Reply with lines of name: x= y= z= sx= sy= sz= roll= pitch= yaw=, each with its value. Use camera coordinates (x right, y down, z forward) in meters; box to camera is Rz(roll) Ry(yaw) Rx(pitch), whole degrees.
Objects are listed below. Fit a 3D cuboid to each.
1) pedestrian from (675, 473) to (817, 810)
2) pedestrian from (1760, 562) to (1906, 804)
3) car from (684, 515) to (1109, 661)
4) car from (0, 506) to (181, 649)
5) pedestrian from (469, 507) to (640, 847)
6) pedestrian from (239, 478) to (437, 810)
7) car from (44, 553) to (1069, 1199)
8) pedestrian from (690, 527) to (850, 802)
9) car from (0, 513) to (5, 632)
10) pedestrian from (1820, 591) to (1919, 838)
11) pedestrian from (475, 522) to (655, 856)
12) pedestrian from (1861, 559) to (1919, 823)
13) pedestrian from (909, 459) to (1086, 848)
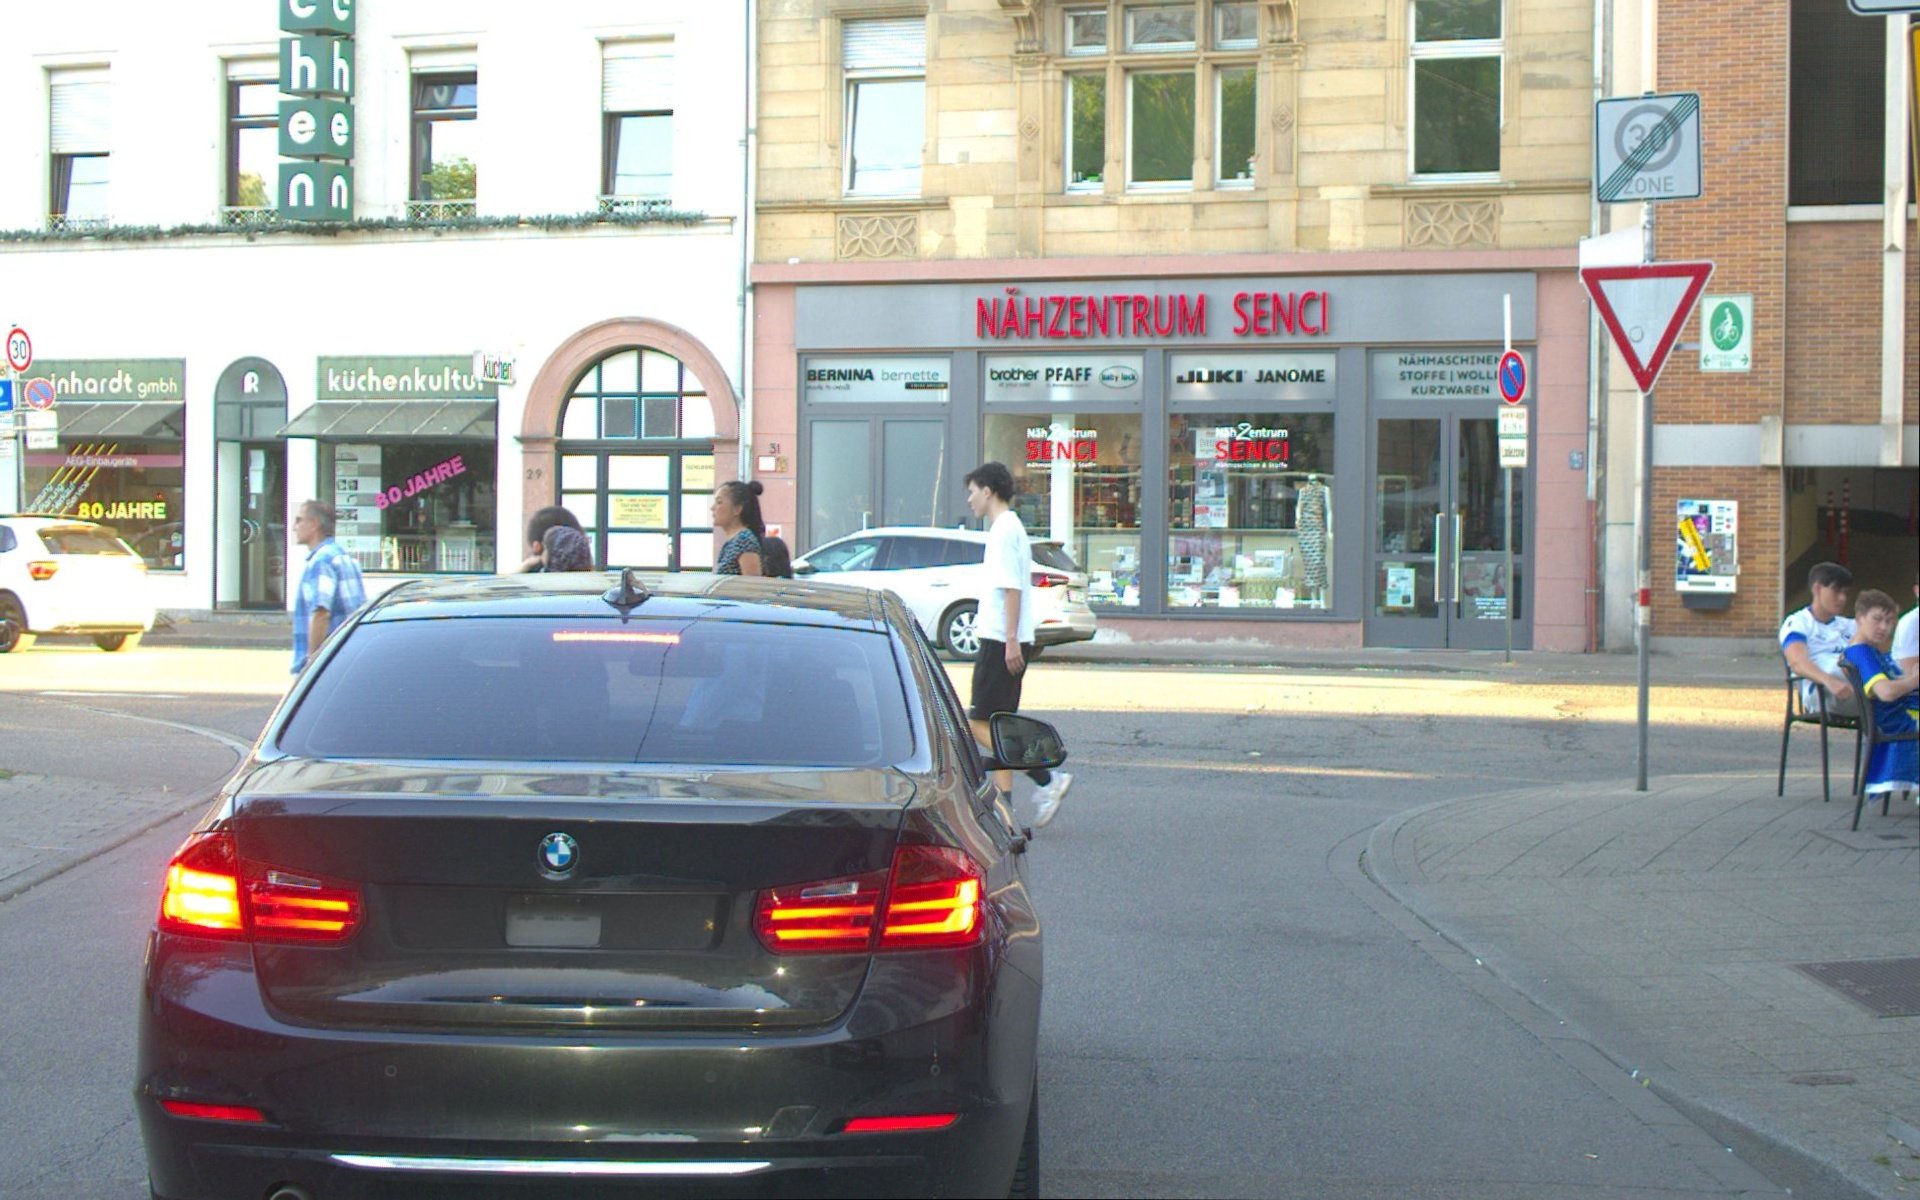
pedestrian: x=-1.117 y=0.208 z=18.064 sx=0.667 sy=1.740 sz=0.606 roll=0 pitch=1 yaw=4
pedestrian: x=4.646 y=0.431 z=18.326 sx=0.617 sy=1.250 sz=0.735 roll=0 pitch=1 yaw=4
car: x=-0.702 y=-0.152 z=38.364 sx=4.356 sy=1.557 sz=1.867 roll=1 pitch=1 yaw=20
car: x=-10.509 y=-0.286 z=37.152 sx=3.995 sy=1.468 sz=1.880 roll=1 pitch=2 yaw=35
pedestrian: x=-1.983 y=0.362 z=16.744 sx=0.724 sy=1.603 sz=0.650 roll=2 pitch=1 yaw=-11
pedestrian: x=-3.352 y=0.223 z=18.551 sx=0.895 sy=1.719 sz=0.607 roll=2 pitch=3 yaw=4
car: x=-0.790 y=0.623 z=8.415 sx=1.765 sy=1.370 sz=4.791 roll=1 pitch=2 yaw=-2
pedestrian: x=-1.029 y=0.339 z=18.712 sx=0.815 sy=1.469 sz=0.606 roll=0 pitch=1 yaw=2
car: x=-14.384 y=-0.364 z=43.767 sx=3.991 sy=1.505 sz=1.798 roll=1 pitch=1 yaw=20
pedestrian: x=4.614 y=0.538 z=16.418 sx=0.890 sy=1.146 sz=0.619 roll=0 pitch=1 yaw=5
pedestrian: x=-1.853 y=0.407 z=16.081 sx=0.735 sy=1.508 sz=0.650 roll=2 pitch=1 yaw=-11
pedestrian: x=4.861 y=0.443 z=17.118 sx=0.617 sy=1.279 sz=0.659 roll=0 pitch=1 yaw=6
pedestrian: x=0.192 y=0.250 z=17.040 sx=0.699 sy=1.871 sz=0.678 roll=2 pitch=1 yaw=13
